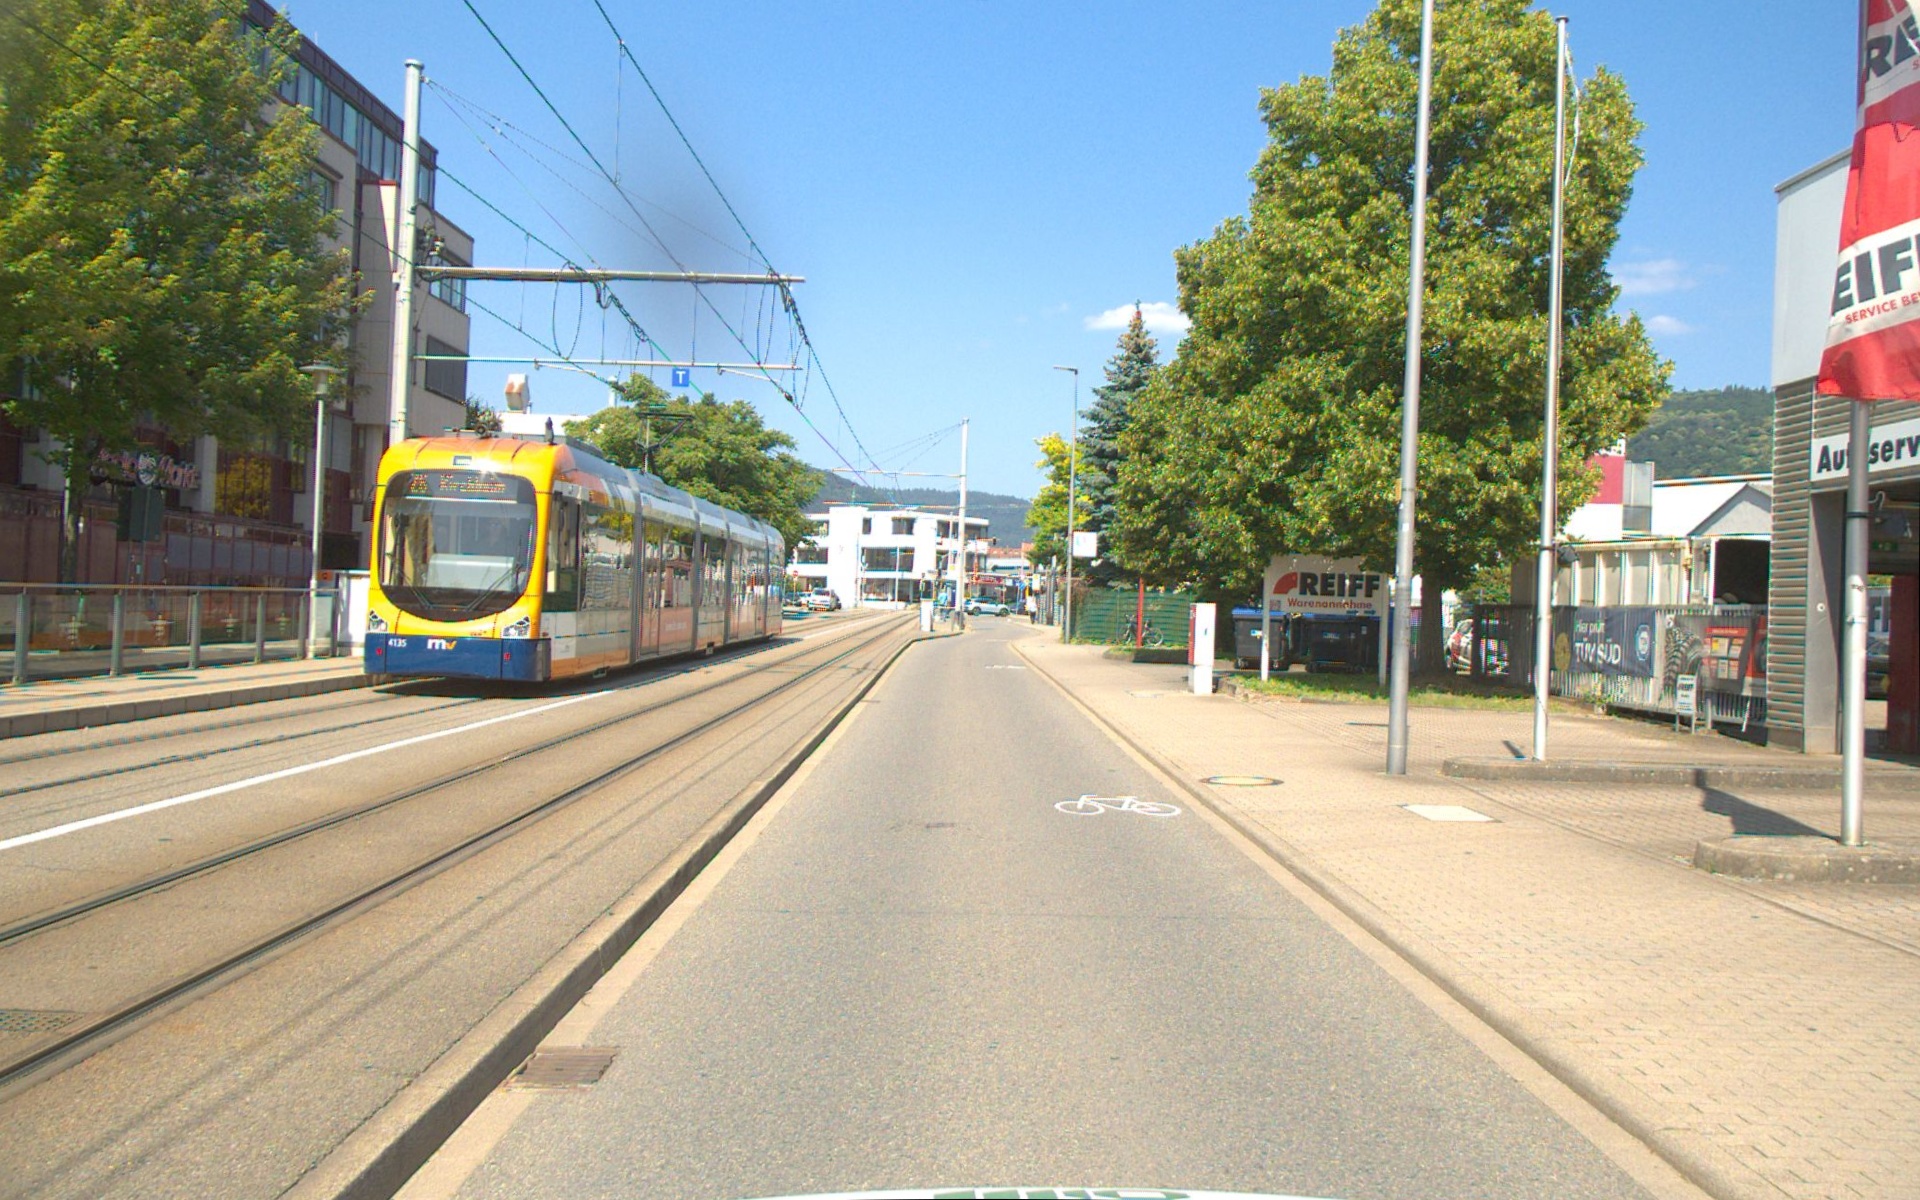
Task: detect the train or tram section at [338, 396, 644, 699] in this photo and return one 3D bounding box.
[{"bbox_3d":[-6.212,-0.627,22.851,2.558,3.594,5.741,2,0,-1],"label":"train or tram section"}]

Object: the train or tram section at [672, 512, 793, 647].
[{"bbox_3d":[-6.355,-0.545,47.040,2.527,3.507,6.362,2,0,-1],"label":"train or tram section"}]

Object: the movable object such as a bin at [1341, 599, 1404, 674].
[{"bbox_3d":[9.025,0.811,36.231,0.959,1.574,1.319,3,-2,-4],"label":"movable object such as a bin"}]

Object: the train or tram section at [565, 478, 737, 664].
[{"bbox_3d":[-6.249,-0.552,34.166,2.558,3.507,5.009,2,0,-1],"label":"train or tram section"}]

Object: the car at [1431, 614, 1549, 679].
[{"bbox_3d":[13.436,1.141,42.155,1.707,1.485,4.000,2,0,0],"label":"car"}]

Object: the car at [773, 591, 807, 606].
[{"bbox_3d":[-18.168,-0.144,176.900,1.775,1.579,3.944,1,0,-39],"label":"car"}]

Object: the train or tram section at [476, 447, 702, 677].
[{"bbox_3d":[-6.227,-0.582,28.660,2.558,3.507,5.842,2,0,-1],"label":"train or tram section"}]

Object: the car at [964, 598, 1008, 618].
[{"bbox_3d":[2.388,0.740,153.640,3.909,1.780,1.774,2,0,-5],"label":"car"}]

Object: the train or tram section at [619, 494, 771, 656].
[{"bbox_3d":[-6.296,-0.549,40.277,2.527,3.507,7.135,2,0,-1],"label":"train or tram section"}]

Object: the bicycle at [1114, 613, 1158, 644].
[{"bbox_3d":[5.981,0.971,56.117,1.441,1.008,0.388,2,-3,-1],"label":"bicycle"}]

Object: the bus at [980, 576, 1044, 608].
[{"bbox_3d":[5.176,-0.843,166.528,2.408,2.930,8.710,2,0,-28],"label":"bus"}]

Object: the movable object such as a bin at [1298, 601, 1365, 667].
[{"bbox_3d":[8.520,0.785,37.900,1.290,1.455,0.884,2,-2,25],"label":"movable object such as a bin"}]

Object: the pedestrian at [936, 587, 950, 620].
[{"bbox_3d":[-0.935,0.189,90.555,0.728,1.771,0.727,1,0,-1],"label":"pedestrian"}]

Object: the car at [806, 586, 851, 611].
[{"bbox_3d":[-11.456,-0.130,144.140,1.827,1.970,3.990,4,1,32],"label":"car"}]

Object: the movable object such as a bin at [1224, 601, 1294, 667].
[{"bbox_3d":[6.969,0.787,38.486,1.357,1.455,0.990,2,-2,25],"label":"movable object such as a bin"}]
